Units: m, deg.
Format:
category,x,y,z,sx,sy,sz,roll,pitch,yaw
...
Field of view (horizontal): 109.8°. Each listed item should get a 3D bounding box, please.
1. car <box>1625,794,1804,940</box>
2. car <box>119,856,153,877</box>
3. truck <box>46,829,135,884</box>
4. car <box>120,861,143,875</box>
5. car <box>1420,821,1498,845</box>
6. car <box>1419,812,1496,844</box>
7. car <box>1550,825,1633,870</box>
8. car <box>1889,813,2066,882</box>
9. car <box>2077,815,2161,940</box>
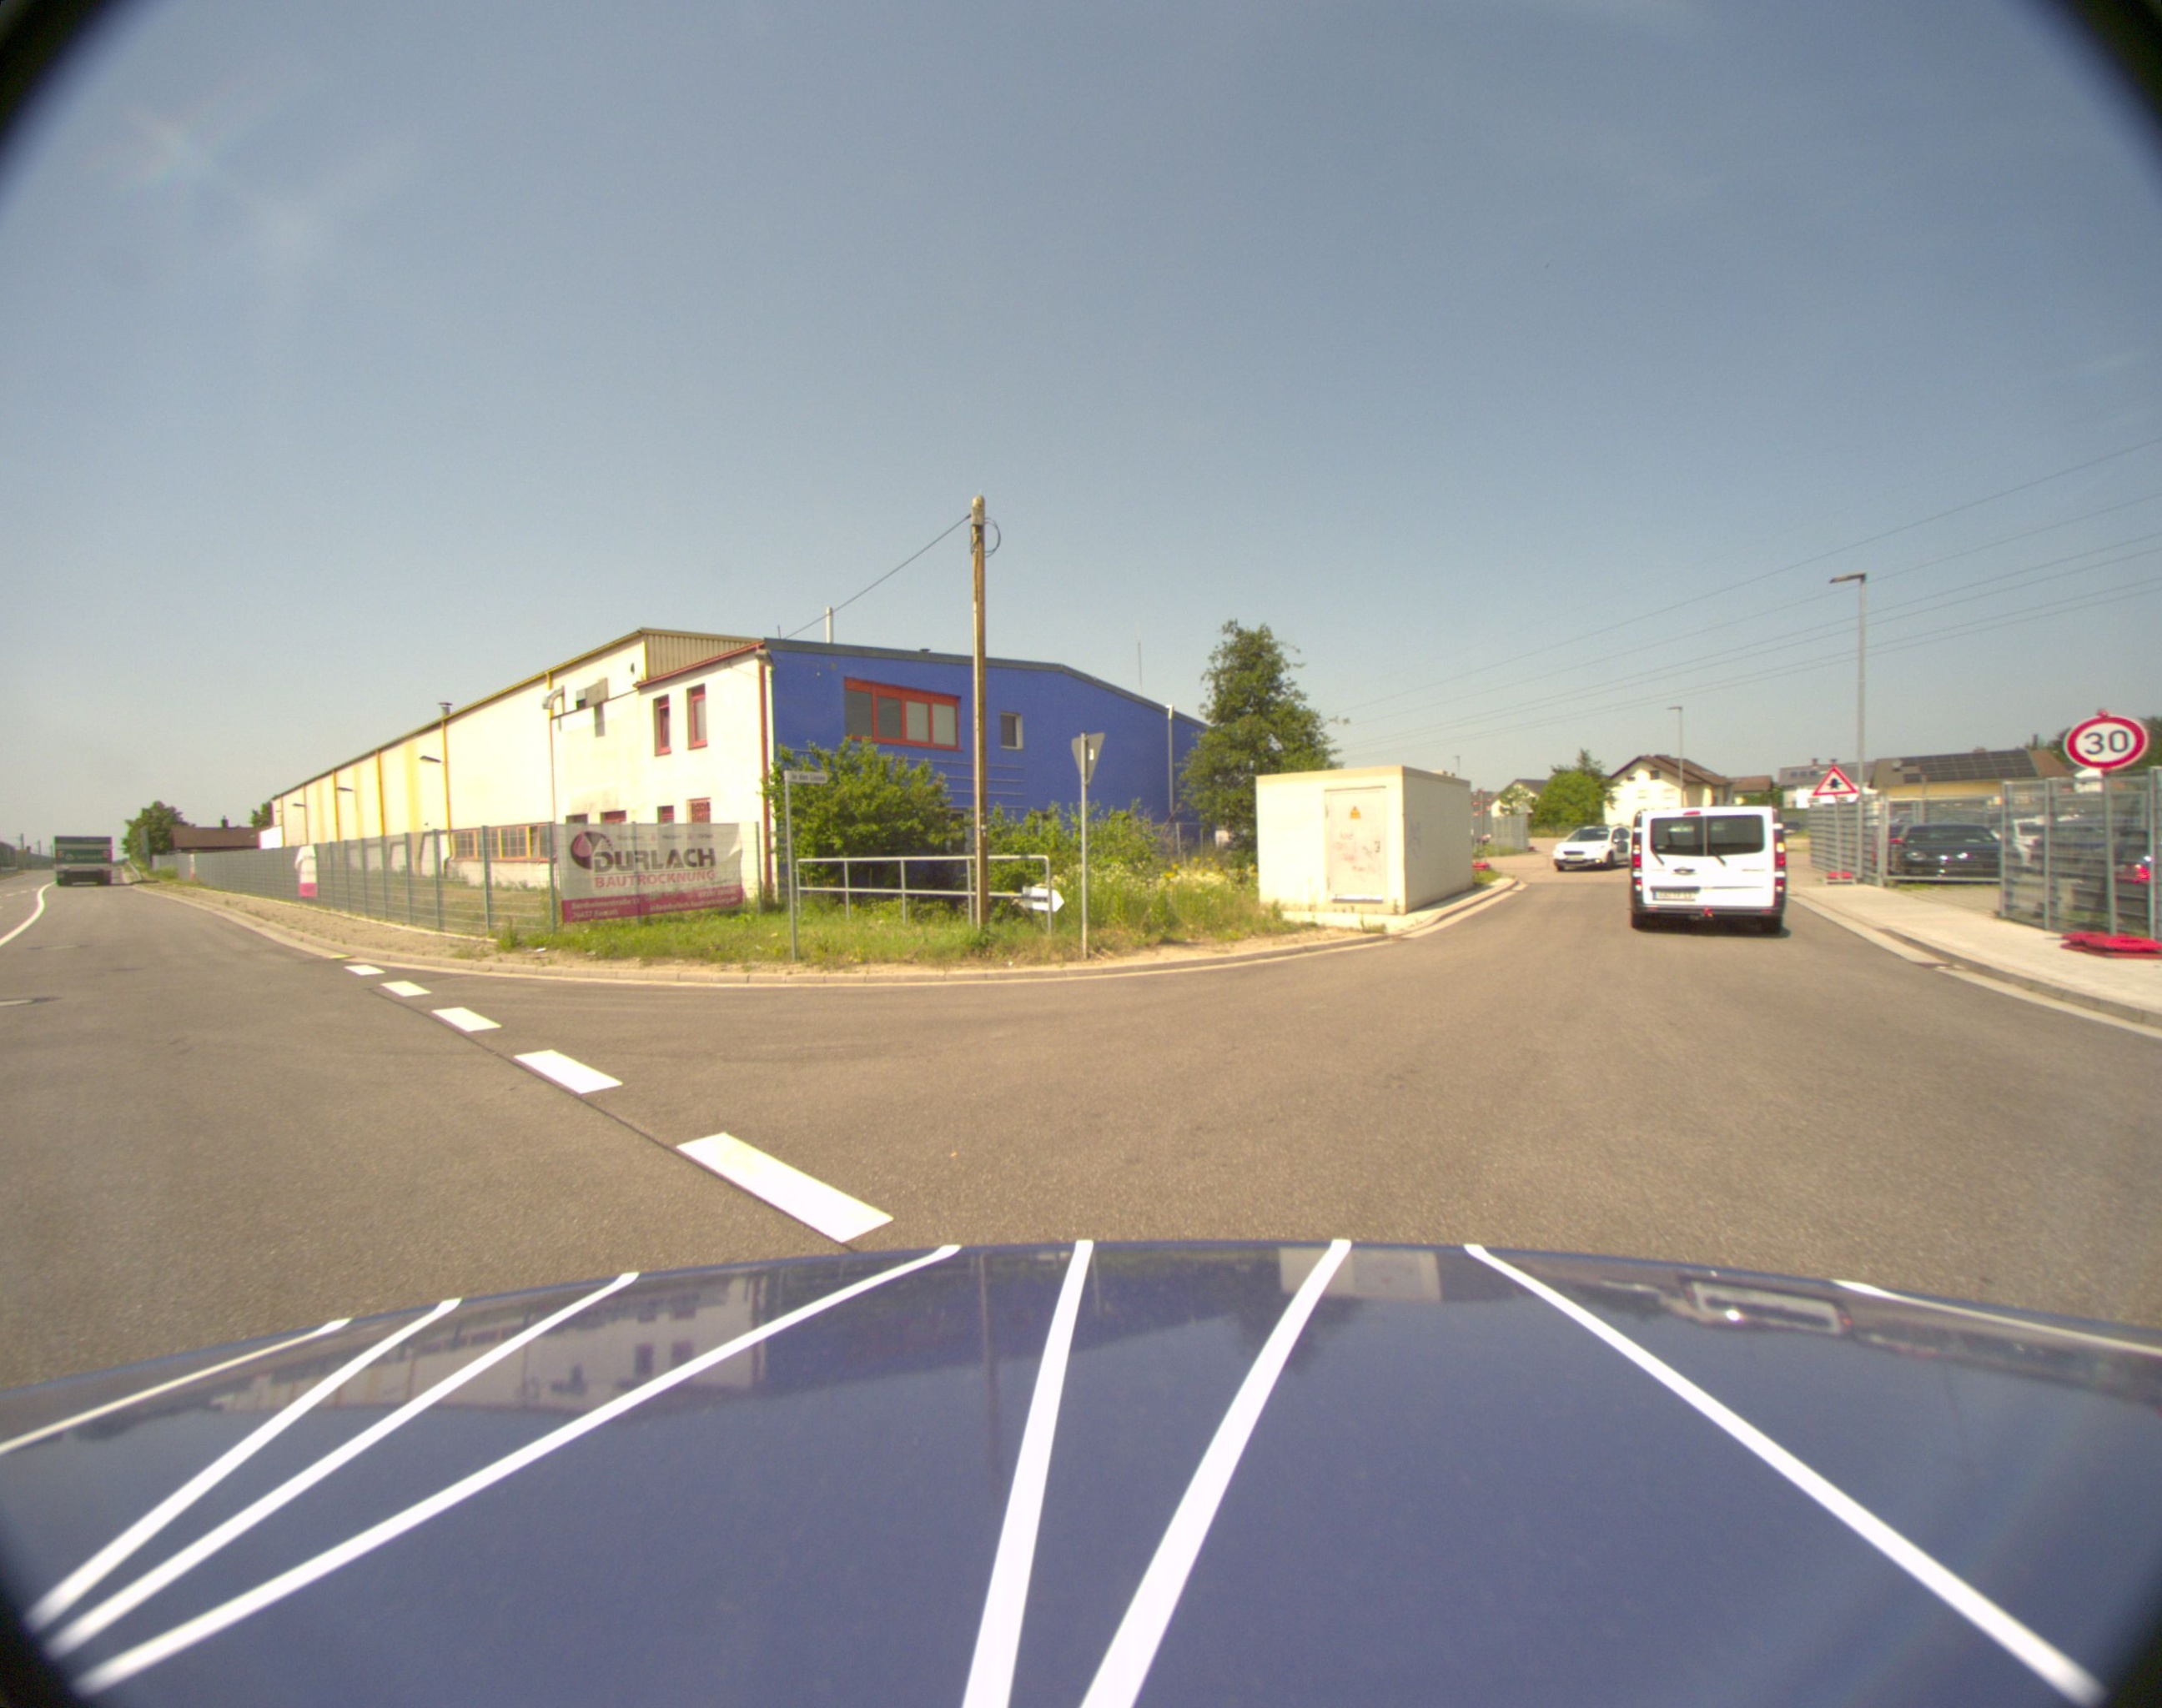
category,x,y,z,sx,sy,sz,roll,pitch,yaw
car,10.693,0.148,13.175,2.003,2.048,4.822,-1,1,36
car,-94.781,1.224,76.246,3.989,2.002,2.004,-1,1,40
truck,-76.139,0.251,58.636,11.382,3.855,3.573,-1,1,40
car,-140.695,2.062,112.601,3.989,2.002,2.004,-1,1,40
car,25.303,-1.372,50.941,4.565,1.419,2.003,-2,1,26
car,26.470,-1.796,53.627,4.643,2.002,2.003,-2,1,21
car,18.698,-0.268,27.769,1.770,1.494,4.170,0,2,45
car,21.889,-0.175,18.770,1.770,1.494,4.008,-2,0,34
car,14.896,0.217,8.644,3.989,1.494,1.778,-2,0,38
